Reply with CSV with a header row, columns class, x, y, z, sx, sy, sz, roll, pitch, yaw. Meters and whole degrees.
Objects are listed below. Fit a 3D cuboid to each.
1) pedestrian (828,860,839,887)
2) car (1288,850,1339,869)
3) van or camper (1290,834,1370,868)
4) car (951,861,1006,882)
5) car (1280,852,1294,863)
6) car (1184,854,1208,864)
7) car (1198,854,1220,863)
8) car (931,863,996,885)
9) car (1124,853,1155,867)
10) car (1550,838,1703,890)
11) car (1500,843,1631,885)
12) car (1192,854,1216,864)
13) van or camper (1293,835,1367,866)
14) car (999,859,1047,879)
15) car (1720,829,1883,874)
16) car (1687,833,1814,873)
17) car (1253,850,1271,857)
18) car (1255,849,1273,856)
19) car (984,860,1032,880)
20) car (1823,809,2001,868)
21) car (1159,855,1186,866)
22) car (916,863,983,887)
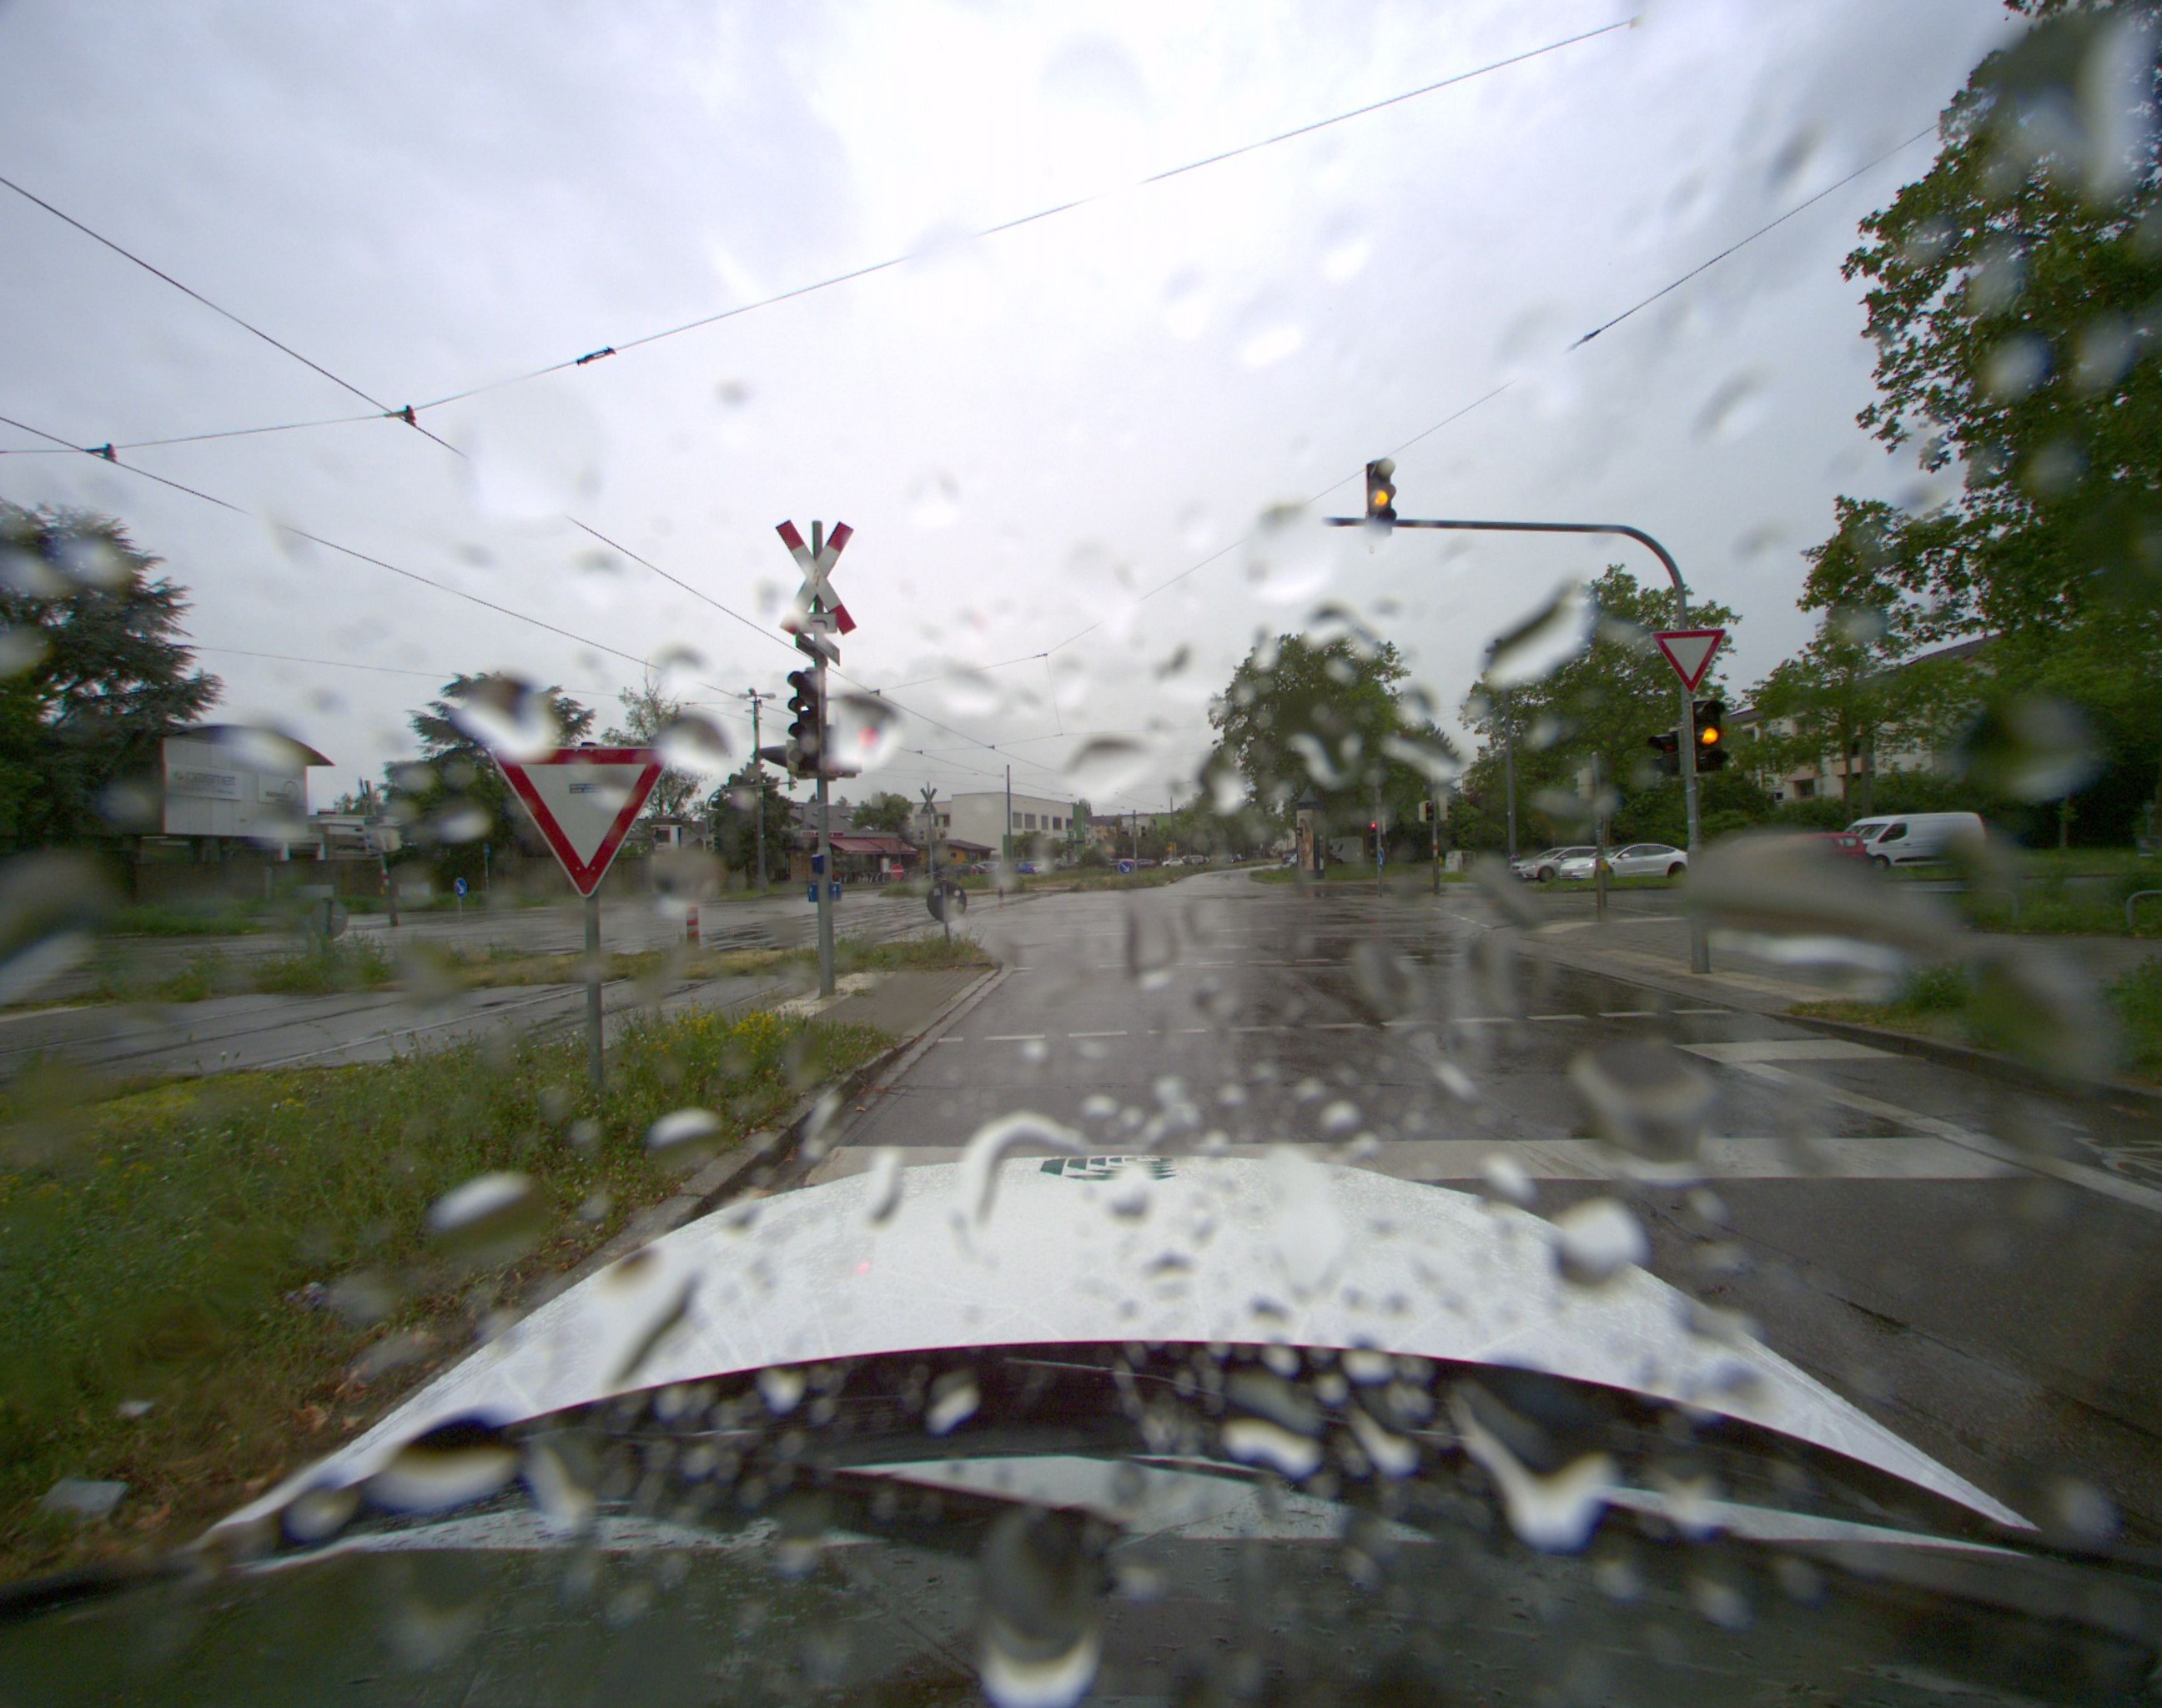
class,x,y,z,sx,sy,sz,roll,pitch,yaw
pedestrian,-18.551,1.442,61.113,0.726,2.014,0.789,0,-1,-21
car,22.019,0.510,77.216,4.405,1.717,2.011,-1,-1,23
van or camper,24.502,-0.226,80.109,7.261,3.178,3.278,-1,-1,20
car,-8.176,1.392,65.127,3.966,1.582,1.862,-2,-1,6
car,31.149,0.538,123.227,1.792,1.686,3.929,-1,-1,18
car,20.407,0.862,144.608,3.986,1.759,2.004,0,-1,-10
car,24.964,0.905,158.542,3.977,1.832,1.998,0,-1,-3
car,-8.880,1.513,61.751,4.478,1.418,1.860,-3,-1,3
car,7.901,0.852,110.169,3.980,1.887,1.997,0,-1,-5
car,20.479,0.367,30.670,4.585,1.828,1.931,0,-1,-5
car,20.186,0.418,34.036,4.385,1.691,1.931,0,-1,-5
car,23.227,0.877,153.510,3.986,1.832,1.994,0,-1,-10
van or camper,27.242,-0.354,89.228,7.359,3.178,3.281,-1,-1,24
car,-5.225,1.361,73.191,4.112,1.641,1.922,-1,-1,-12
car,26.989,-0.101,30.613,4.589,1.607,1.790,0,-1,-1
car,28.220,-0.037,34.404,4.048,1.607,1.788,0,-1,-5
car,44.035,-0.123,197.900,3.977,1.832,1.998,0,-1,-3
car,45.481,-0.329,202.605,3.977,1.832,1.998,0,-1,-3
car,-6.288,1.372,70.039,3.986,1.582,1.924,-2,-1,-9
car,35.131,-0.621,34.519,5.589,2.392,1.999,0,-1,-2
car,14.209,0.962,126.627,3.772,1.702,1.832,0,-1,-8
car,-9.558,1.515,59.358,4.459,1.418,1.860,-3,-1,3
